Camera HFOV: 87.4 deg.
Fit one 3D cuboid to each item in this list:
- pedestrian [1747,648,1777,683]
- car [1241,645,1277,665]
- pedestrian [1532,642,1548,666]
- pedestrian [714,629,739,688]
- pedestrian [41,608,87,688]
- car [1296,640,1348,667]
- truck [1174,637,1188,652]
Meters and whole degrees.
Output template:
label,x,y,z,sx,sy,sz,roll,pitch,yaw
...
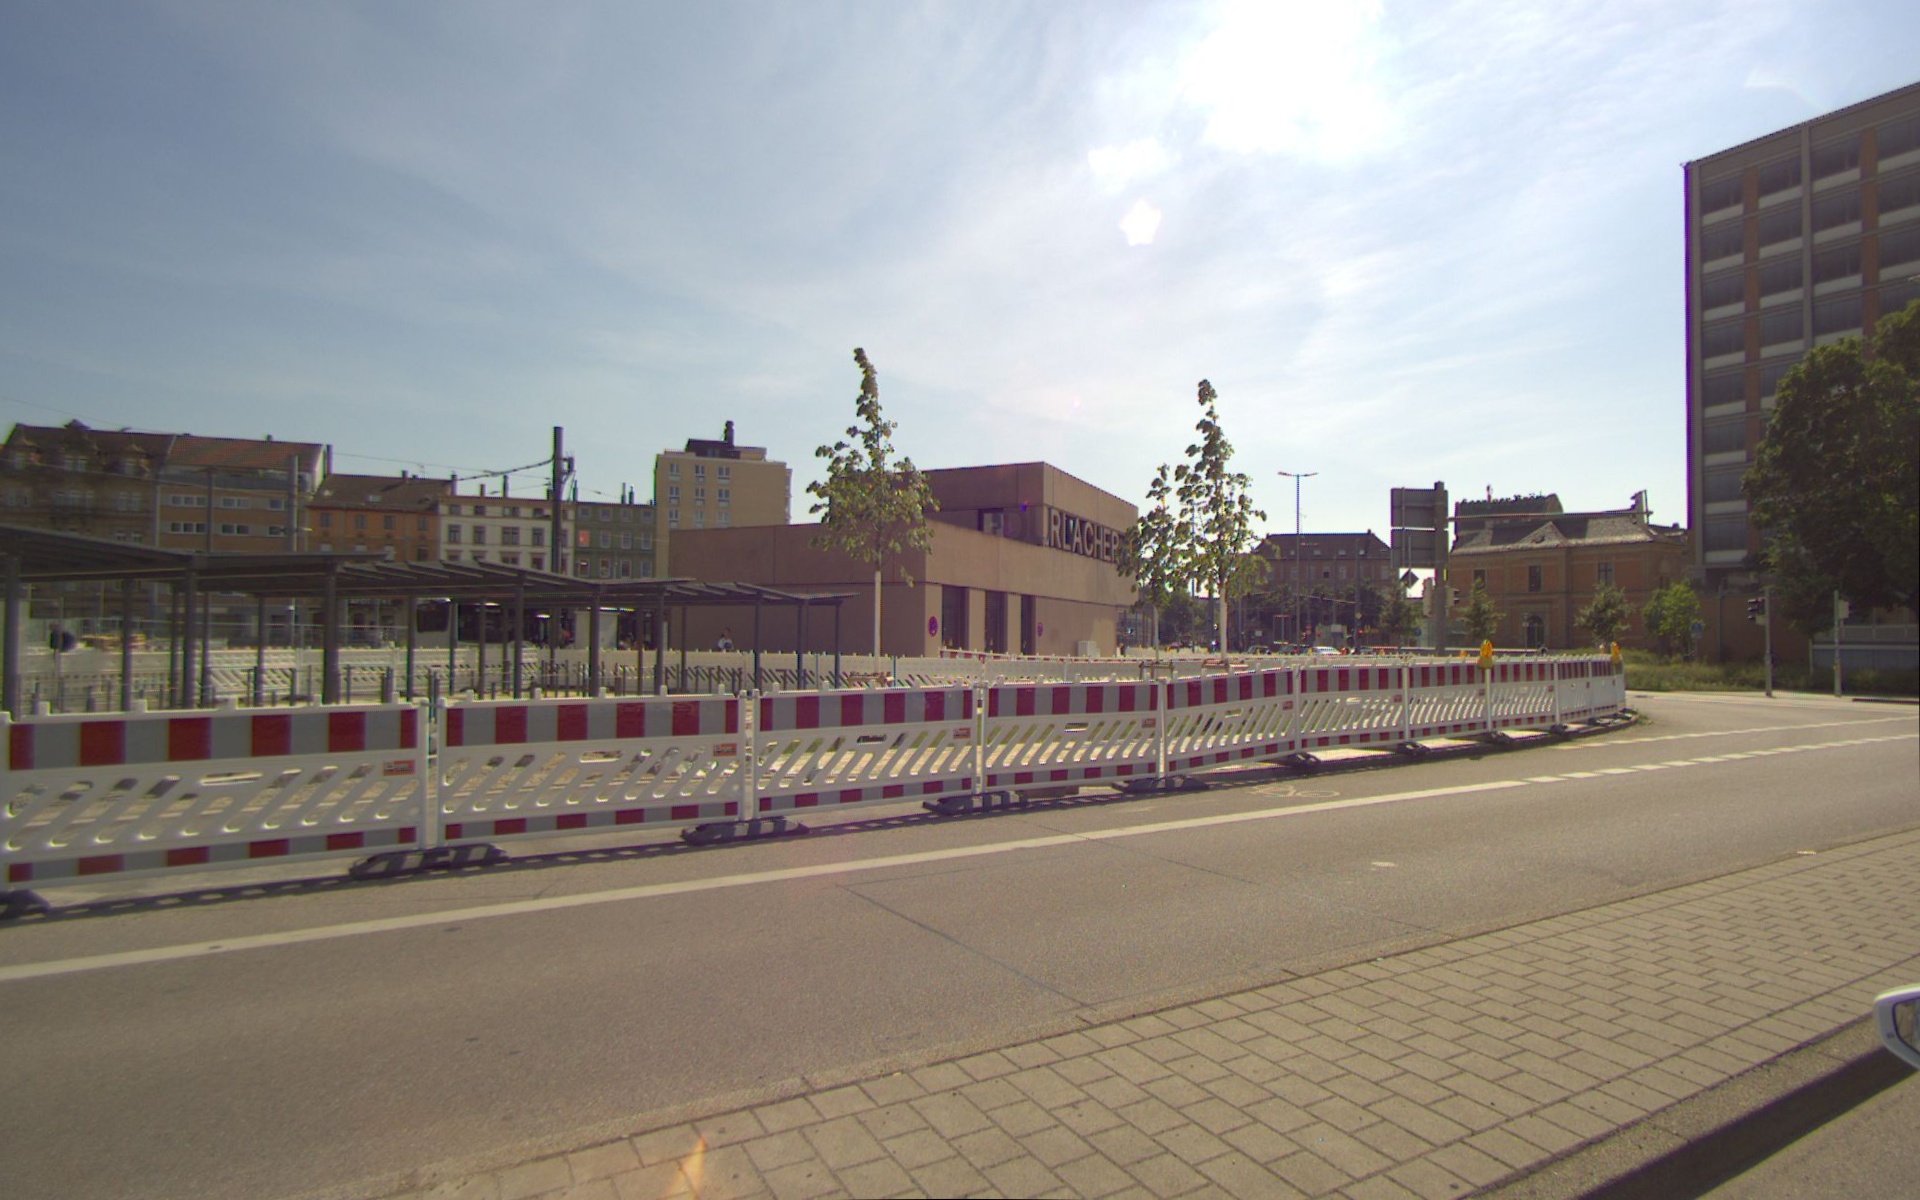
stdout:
label,x,y,z,sx,sy,sz,roll,pitch,yaw
pedestrian,40.509,3.284,50.734,0.857,1.748,0.799,1,-2,-7
car,23.859,4.364,80.218,1.764,1.530,4.001,1,-2,1
pedestrian,40.734,3.778,70.548,0.637,1.683,0.650,2,0,-3
pedestrian,-6.407,1.606,27.562,0.415,1.585,0.558,-1,-2,25
pedestrian,-23.327,1.255,26.155,0.807,2.040,0.684,-1,-3,35
car,26.096,3.830,72.616,1.963,1.839,3.996,1,-2,-7
truck,54.355,10.975,247.205,3.011,3.779,7.937,0,-2,10
